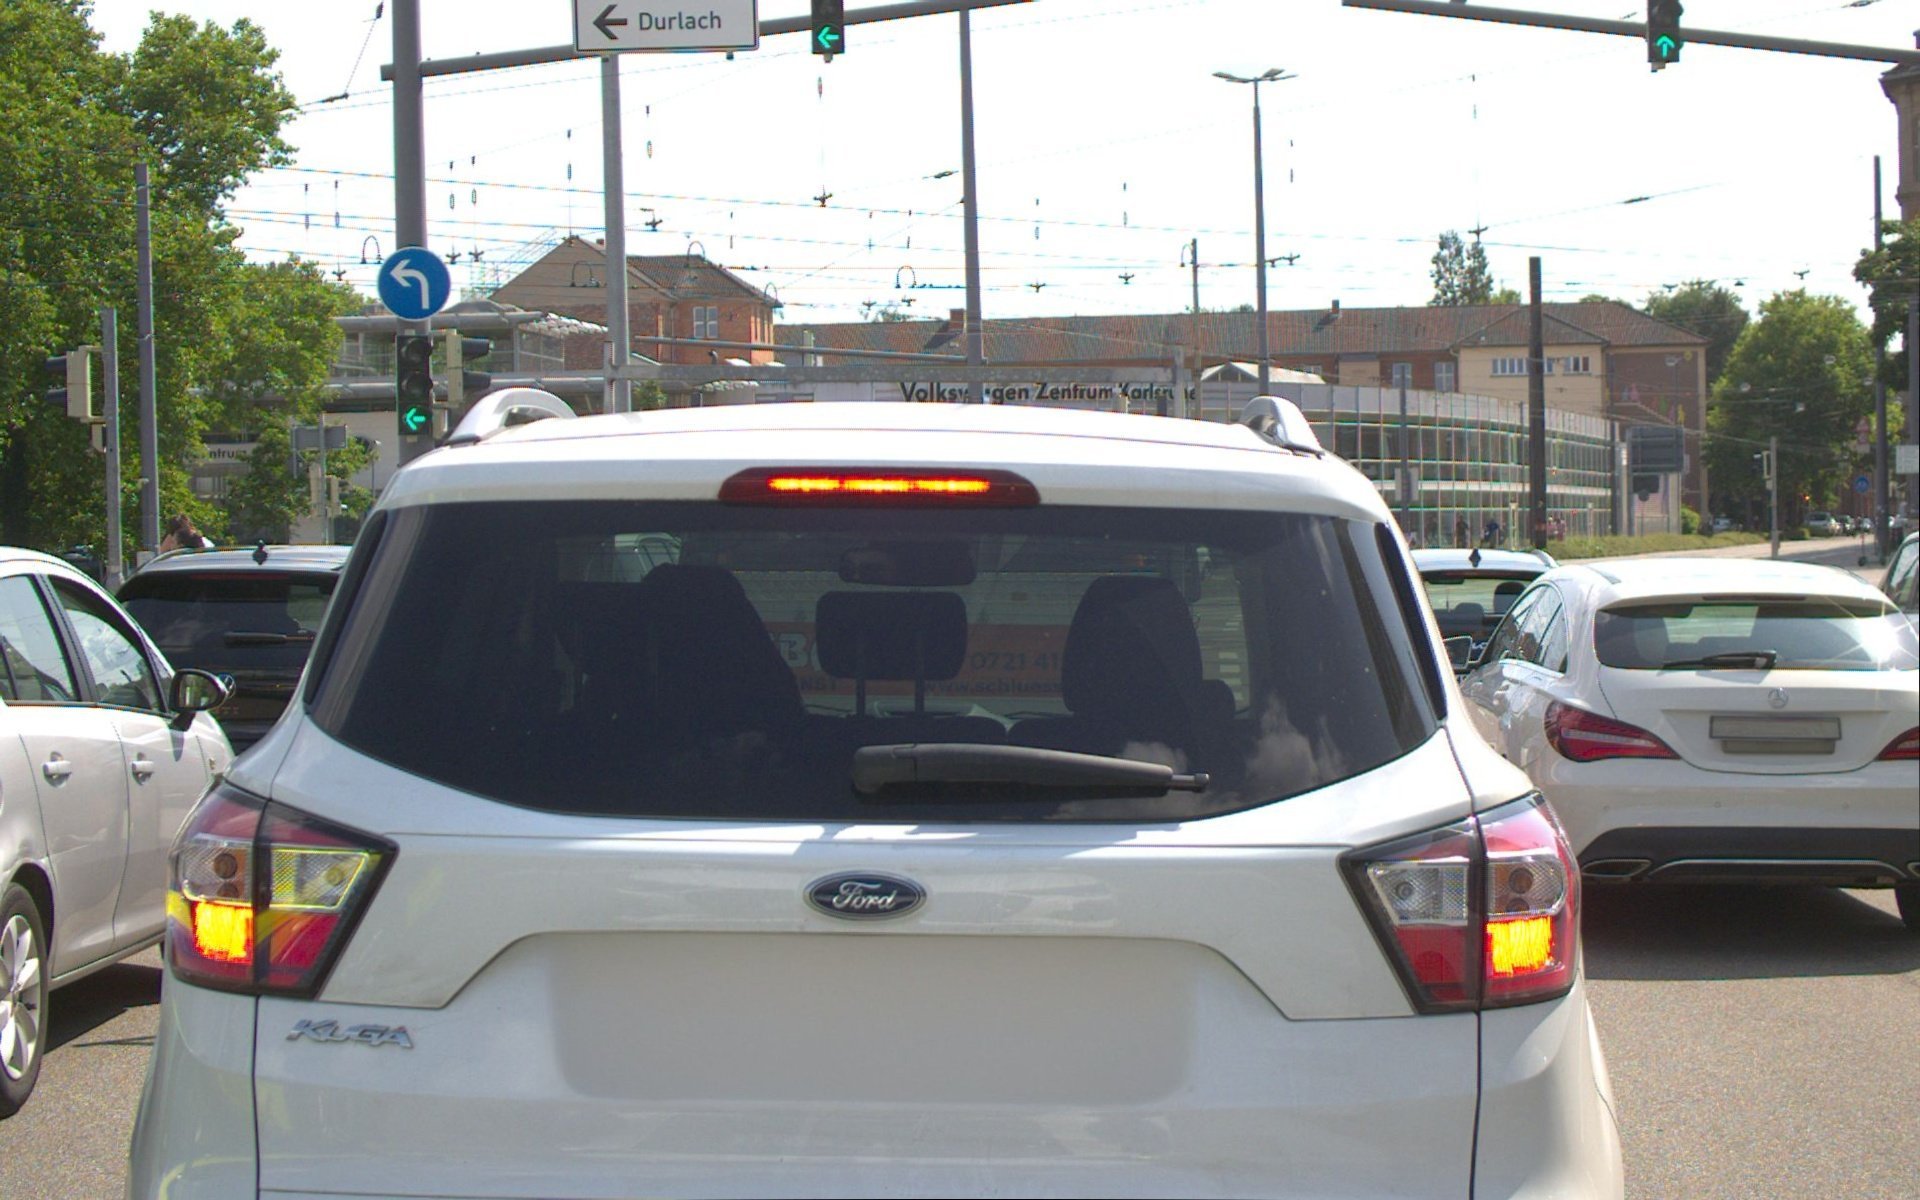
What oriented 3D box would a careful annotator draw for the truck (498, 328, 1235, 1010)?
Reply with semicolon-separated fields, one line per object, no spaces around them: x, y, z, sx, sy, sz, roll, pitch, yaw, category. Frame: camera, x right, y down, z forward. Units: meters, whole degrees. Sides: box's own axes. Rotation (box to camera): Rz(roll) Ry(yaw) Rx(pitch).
-0.185;0.165;13.912;2.339;2.148;5.851;1;1;2;truck

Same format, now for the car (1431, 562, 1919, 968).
2.995;0.562;13.951;1.850;1.414;3.679;0;1;3;car

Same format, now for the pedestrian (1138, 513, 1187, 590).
4.638;-1.103;78.675;0.923;1.738;0.589;1;0;-27;pedestrian

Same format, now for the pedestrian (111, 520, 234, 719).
-6.664;0.159;29.121;0.847;1.642;0.692;-1;0;-1;pedestrian

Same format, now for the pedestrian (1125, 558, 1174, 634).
4.379;-0.095;79.387;0.923;1.738;0.589;1;0;-27;pedestrian

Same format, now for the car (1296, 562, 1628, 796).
3.236;0.461;22.791;1.850;1.414;3.679;0;1;3;car

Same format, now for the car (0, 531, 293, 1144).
-3.257;0.553;10.072;1.848;1.469;4.000;-1;1;-1;car

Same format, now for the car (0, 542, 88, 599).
-33.336;-1.054;124.996;1.967;1.930;5.069;-3;0;-1;car

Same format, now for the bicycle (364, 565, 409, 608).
-15.437;-0.363;92.518;0.637;1.121;1.784;-1;2;-29;bicycle

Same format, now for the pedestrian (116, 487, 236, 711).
-6.821;-0.013;29.929;0.847;1.910;0.692;-1;0;-1;pedestrian

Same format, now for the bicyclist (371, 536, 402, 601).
-15.431;-0.851;92.515;0.637;1.732;0.662;-1;2;-30;bicyclist

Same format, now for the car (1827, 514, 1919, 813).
6.331;0.336;20.182;1.837;1.646;3.999;0;0;6;car

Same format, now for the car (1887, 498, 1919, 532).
46.729;-4.174;169.097;1.838;1.646;3.996;0;0;20;car

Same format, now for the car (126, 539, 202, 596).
-28.658;-1.148;123.901;1.967;1.930;4.231;-3;0;-5;car

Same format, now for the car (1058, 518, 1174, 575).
4.287;-1.472;93.685;1.901;1.456;3.964;-2;1;22;car

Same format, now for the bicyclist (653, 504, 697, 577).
-6.651;-1.389;80.226;0.760;1.677;0.760;-2;1;14;bicyclist

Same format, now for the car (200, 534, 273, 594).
-25.999;-1.277;123.644;1.993;2.007;4.231;-3;0;-5;car

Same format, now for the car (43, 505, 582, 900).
-2.884;0.375;16.263;1.762;1.563;4.527;2;1;-1;car

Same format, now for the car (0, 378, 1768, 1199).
-0.022;0.582;5.390;1.827;1.658;3.955;0;1;3;car

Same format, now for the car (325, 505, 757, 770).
-2.636;0.188;22.773;2.040;1.573;4.539;0;1;4;car
